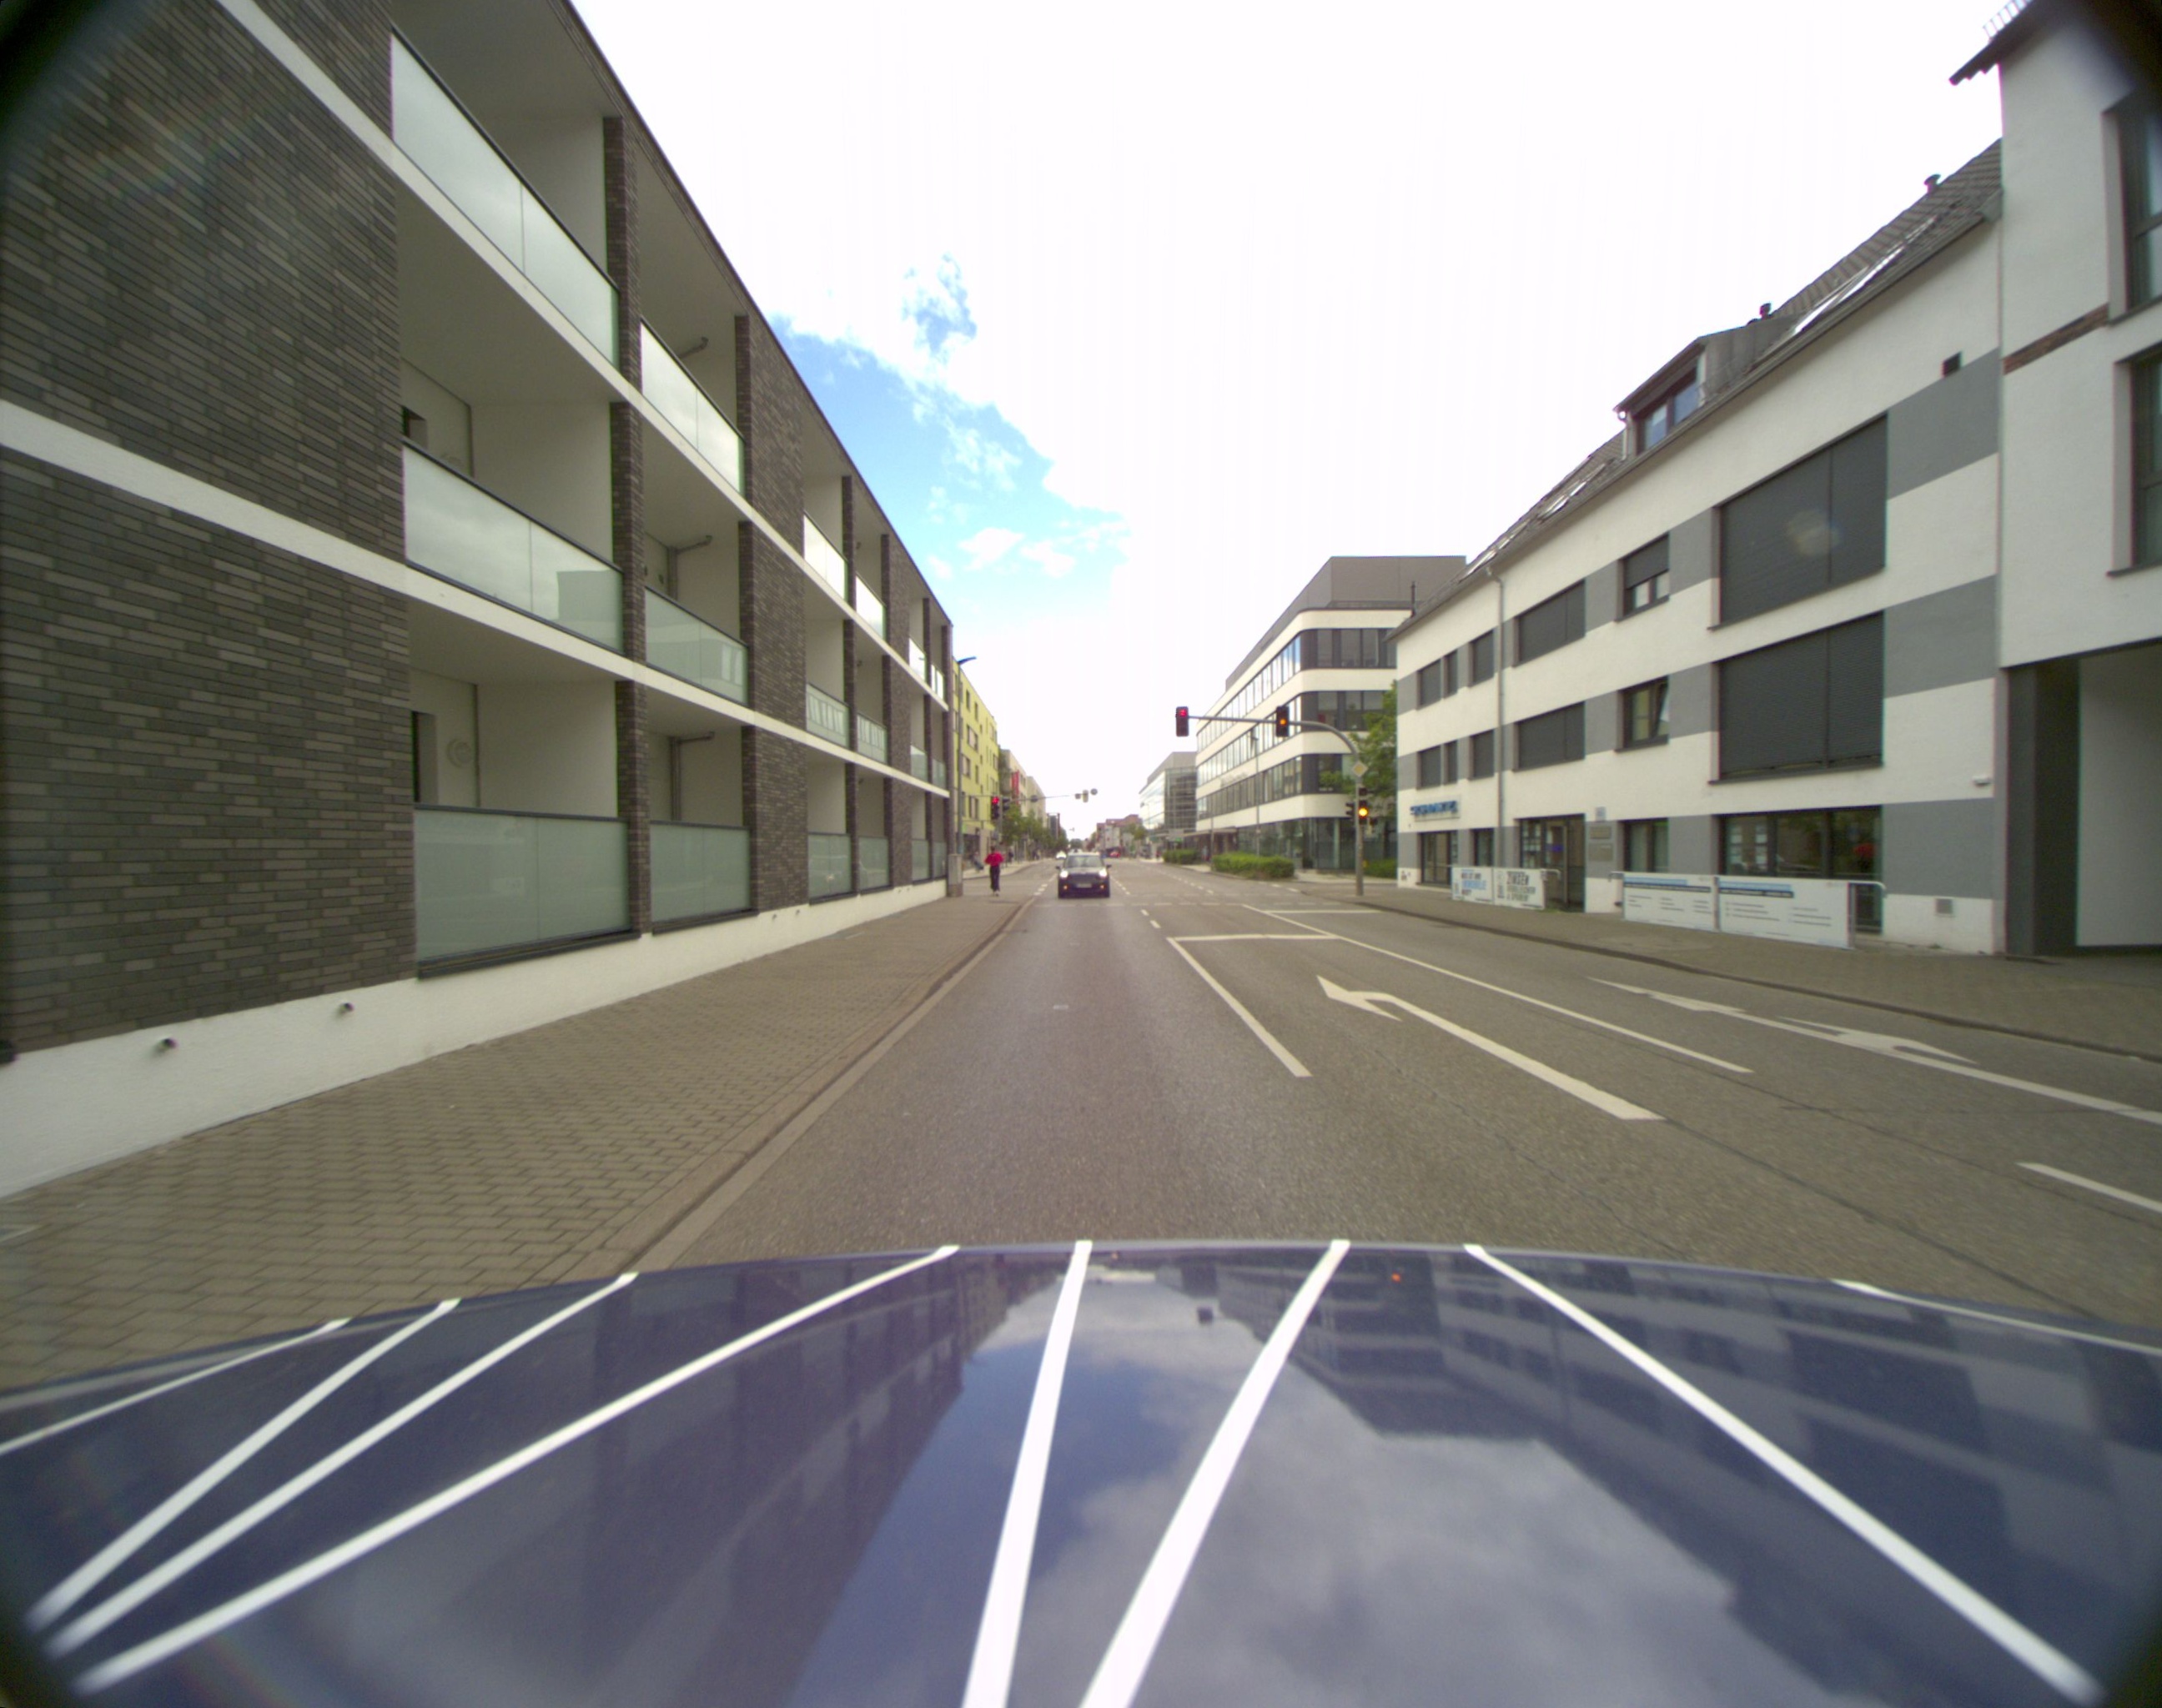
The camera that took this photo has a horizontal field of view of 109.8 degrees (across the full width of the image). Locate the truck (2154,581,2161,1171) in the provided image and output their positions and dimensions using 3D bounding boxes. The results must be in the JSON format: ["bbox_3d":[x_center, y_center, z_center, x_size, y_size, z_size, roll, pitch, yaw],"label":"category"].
[{"bbox_3d":[6.597,0.111,0.826,2.468,2.954,5.964,-2,1,1],"label":"truck"}]

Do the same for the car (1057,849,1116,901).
[{"bbox_3d":[0.200,0.687,27.059,1.847,1.571,4.428,-4,1,1],"label":"car"}]

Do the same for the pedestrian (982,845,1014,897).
[{"bbox_3d":[-2.846,0.583,26.034,0.938,1.732,0.901,-1,1,1],"label":"pedestrian"}]
